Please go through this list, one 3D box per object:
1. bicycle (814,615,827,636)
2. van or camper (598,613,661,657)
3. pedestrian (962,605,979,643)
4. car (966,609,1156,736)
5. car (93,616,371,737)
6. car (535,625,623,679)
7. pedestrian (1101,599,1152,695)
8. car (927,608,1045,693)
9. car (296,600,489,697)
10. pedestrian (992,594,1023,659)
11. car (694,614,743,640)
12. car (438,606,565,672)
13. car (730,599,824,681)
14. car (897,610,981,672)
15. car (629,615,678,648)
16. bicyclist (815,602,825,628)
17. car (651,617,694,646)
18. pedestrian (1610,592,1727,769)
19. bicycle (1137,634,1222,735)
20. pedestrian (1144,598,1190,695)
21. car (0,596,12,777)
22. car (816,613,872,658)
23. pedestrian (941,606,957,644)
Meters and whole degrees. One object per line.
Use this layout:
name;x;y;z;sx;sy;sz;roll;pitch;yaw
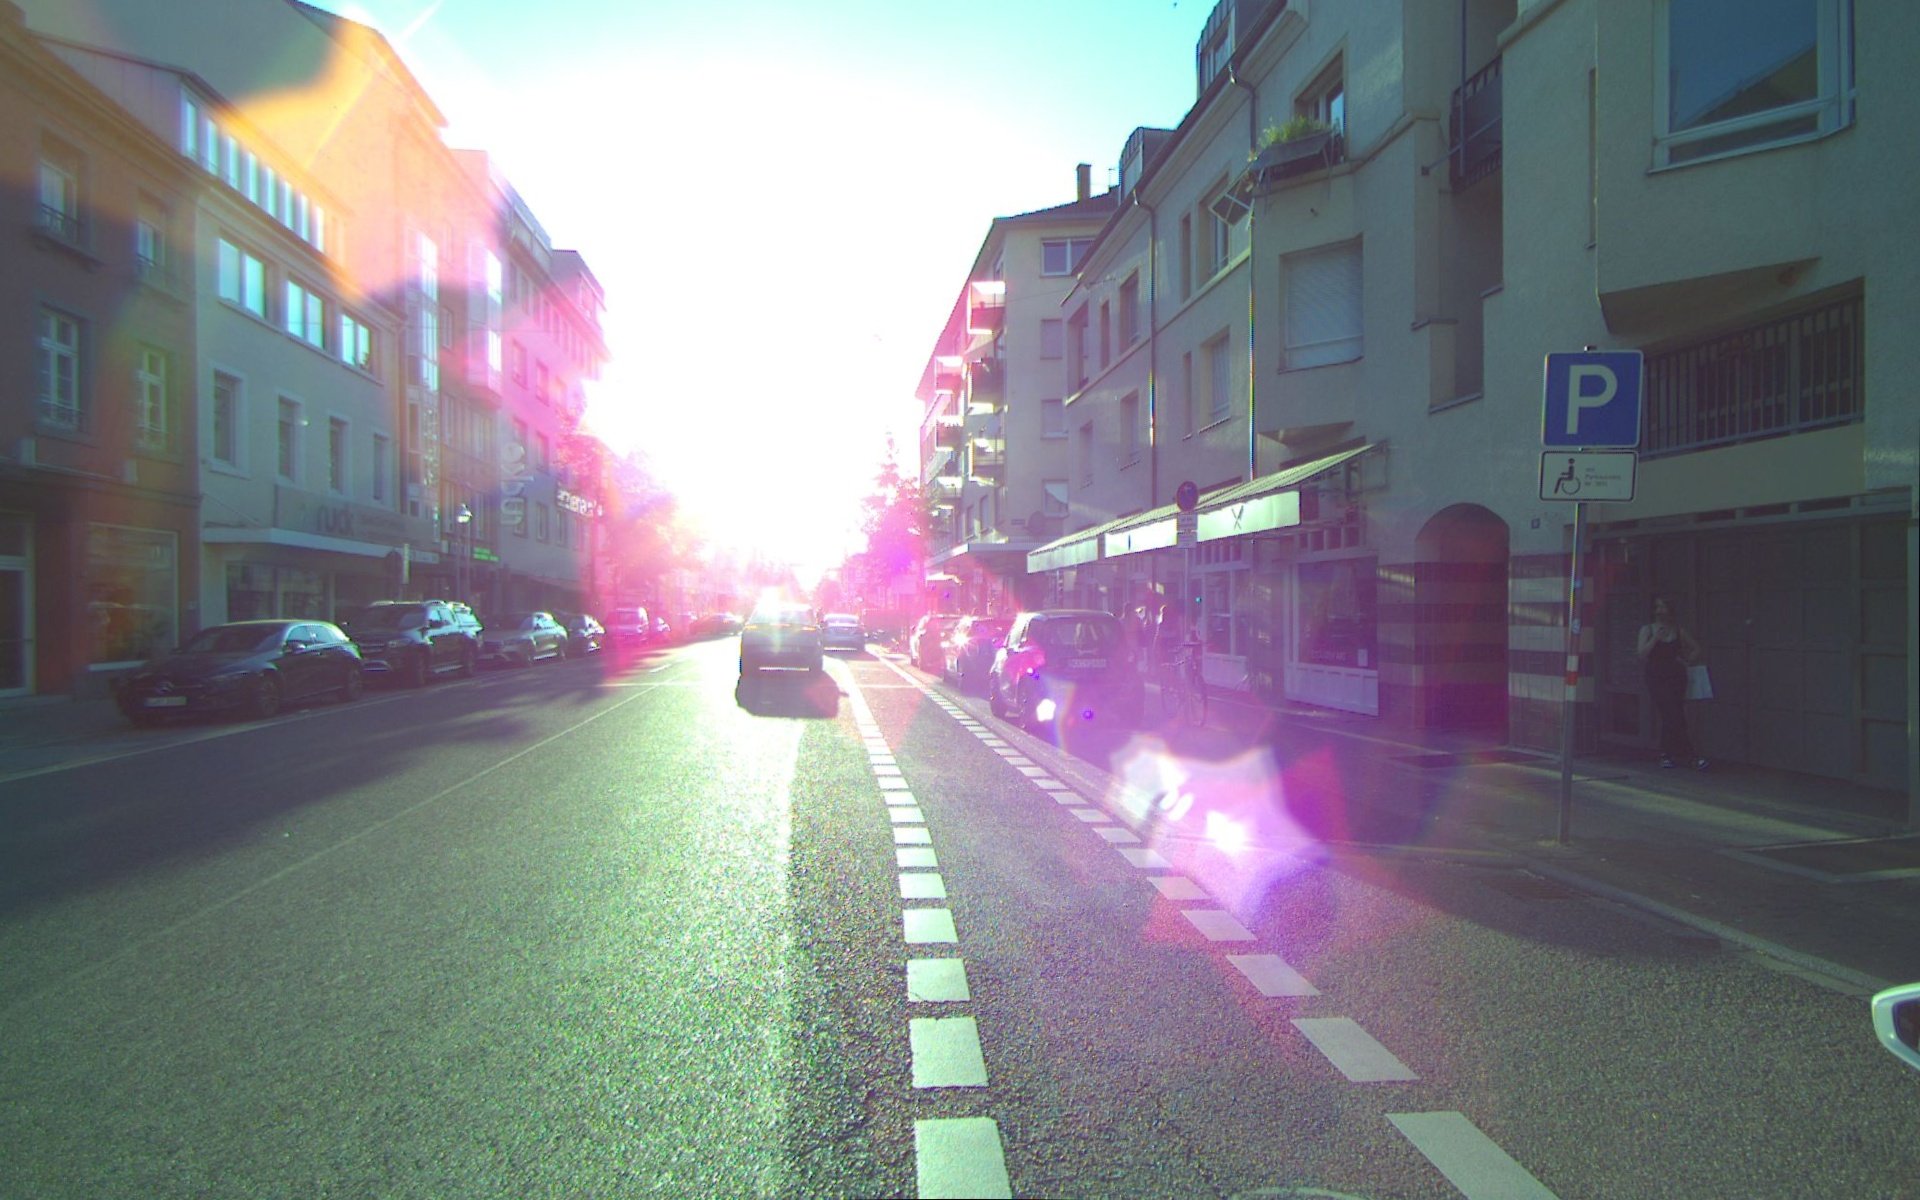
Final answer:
bicycle;-8.570;1.536;61.558;0.653;1.259;2.128;2;-1;-5
van or camper;-14.405;1.500;44.024;1.760;1.797;4.553;0;-1;-7
pedestrian;0.528;1.157;48.513;0.707;1.815;0.666;-1;0;-8
car;1.320;0.940;14.798;1.763;1.601;3.960;0;-1;-10
car;-11.164;1.069;15.852;1.660;1.508;4.404;-3;0;-9
car;-13.102;1.725;34.788;1.964;1.677;4.473;0;-1;-9
pedestrian;3.065;0.849;18.522;0.620;1.722;1.039;-1;0;-9
car;0.445;0.980;21.030;1.763;1.601;3.780;0;-1;-10
car;-12.122;0.950;21.926;1.964;1.801;5.309;-1;0;-10
pedestrian;1.308;0.726;27.753;0.707;1.757;0.737;-1;0;-9
car;-16.993;1.900;70.598;1.827;1.670;4.256;2;-1;-36
car;-12.834;1.029;28.453;1.963;1.677;4.622;-1;0;-8
car;-4.235;0.894;23.834;1.844;1.720;4.317;2;-1;-6
car;-0.642;1.081;27.858;1.763;1.601;3.780;0;-1;-10
car;-15.110;1.525;49.716;1.663;1.523;3.783;0;-1;-7
bicyclist;-8.582;0.929;61.528;0.538;1.602;0.802;-1;0;-5
car;-15.717;1.686;55.136;1.663;1.523;3.783;0;-1;-7
pedestrian;6.618;0.731;9.414;0.763;1.593;0.534;0;0;19
bicycle;2.965;1.107;13.747;0.549;1.222;1.976;0;0;-6
pedestrian;3.789;0.839;18.417;0.551;1.722;0.830;-1;0;-9
car;-9.698;0.834;7.336;1.767;1.721;4.453;-2;0;-9
car;-4.586;1.353;39.226;1.964;1.626;4.398;1;-1;-9
pedestrian;-0.538;1.233;49.476;0.707;1.815;0.666;-1;0;-8
